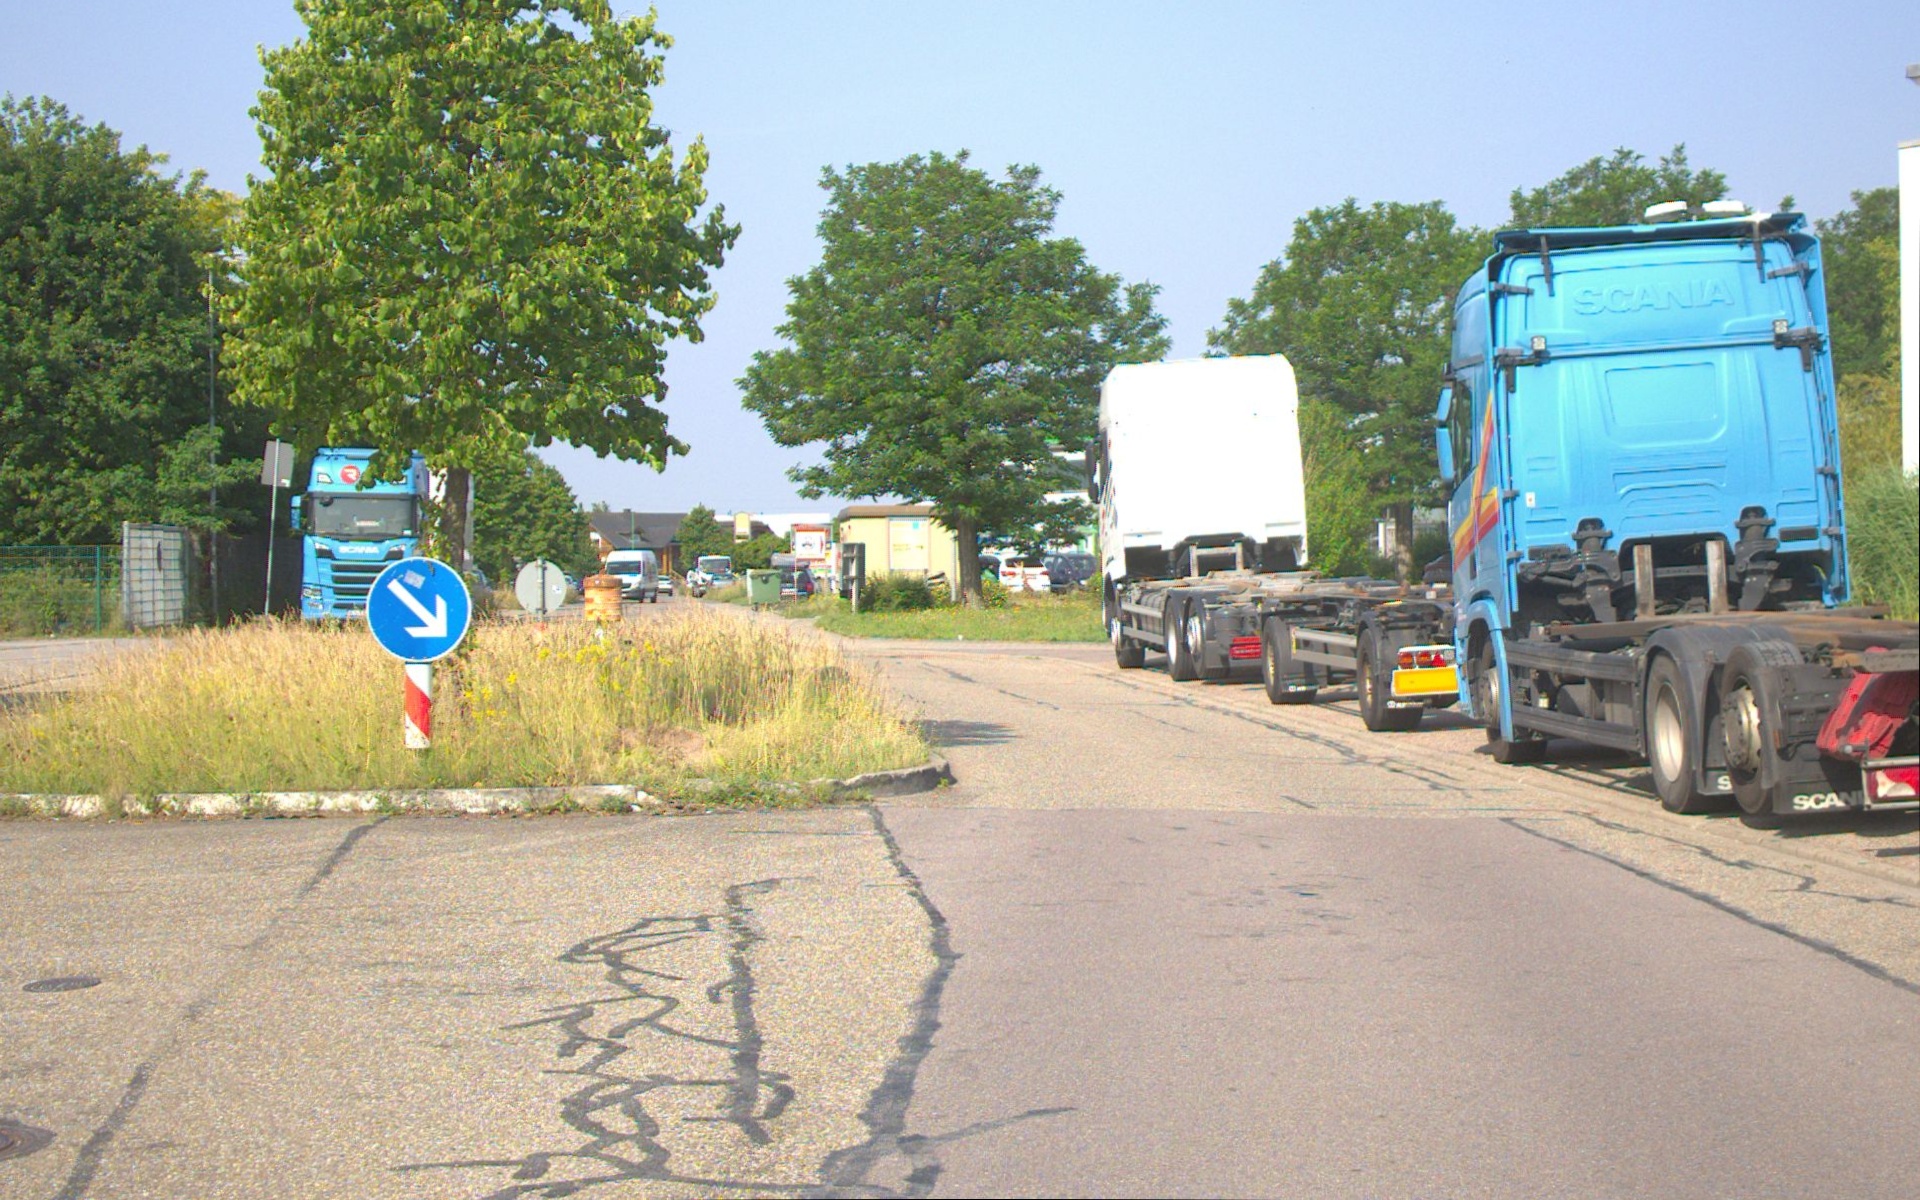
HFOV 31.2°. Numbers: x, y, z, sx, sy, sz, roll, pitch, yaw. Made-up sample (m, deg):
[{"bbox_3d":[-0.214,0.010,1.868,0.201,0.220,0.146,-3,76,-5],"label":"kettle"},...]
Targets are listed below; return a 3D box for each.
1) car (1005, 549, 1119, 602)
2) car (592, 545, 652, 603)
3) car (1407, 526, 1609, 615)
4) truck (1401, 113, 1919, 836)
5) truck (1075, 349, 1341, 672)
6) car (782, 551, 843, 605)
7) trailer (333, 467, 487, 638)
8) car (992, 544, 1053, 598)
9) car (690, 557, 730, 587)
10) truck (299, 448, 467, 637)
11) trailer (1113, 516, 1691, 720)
[{"bbox_3d":[2.638,-0.634,90.107,1.667,1.325,3.664,2,-1,-21],"label":"car"},{"bbox_3d":[-16.463,-1.244,167.039,2.214,2.677,6.855,1,-1,-11],"label":"car"},{"bbox_3d":[11.767,-0.615,73.705,3.987,1.761,2.000,2,-1,-36],"label":"car"},{"bbox_3d":[5.335,-0.683,21.857,2.888,3.523,9.756,-4,0,-4],"label":"truck"},{"bbox_3d":[3.228,-1.160,45.717,2.745,3.968,4.001,-3,1,-5],"label":"truck"},{"bbox_3d":[-5.009,-0.735,116.608,1.791,1.744,4.001,1,-1,-6],"label":"car"},{"bbox_3d":[-13.297,-1.036,84.000,2.830,3.830,12.038,1,-1,-5],"label":"trailer"},{"bbox_3d":[1.960,-0.909,108.902,1.717,1.612,4.000,1,-1,-2],"label":"car"},{"bbox_3d":[-15.793,-1.789,217.182,1.770,1.809,4.001,1,-1,-15],"label":"car"},{"bbox_3d":[-12.526,-1.150,75.380,2.825,3.813,9.674,1,-1,-5],"label":"truck"},{"bbox_3d":[4.053,0.074,36.701,2.745,1.568,16.174,-3,1,-5],"label":"trailer"}]
